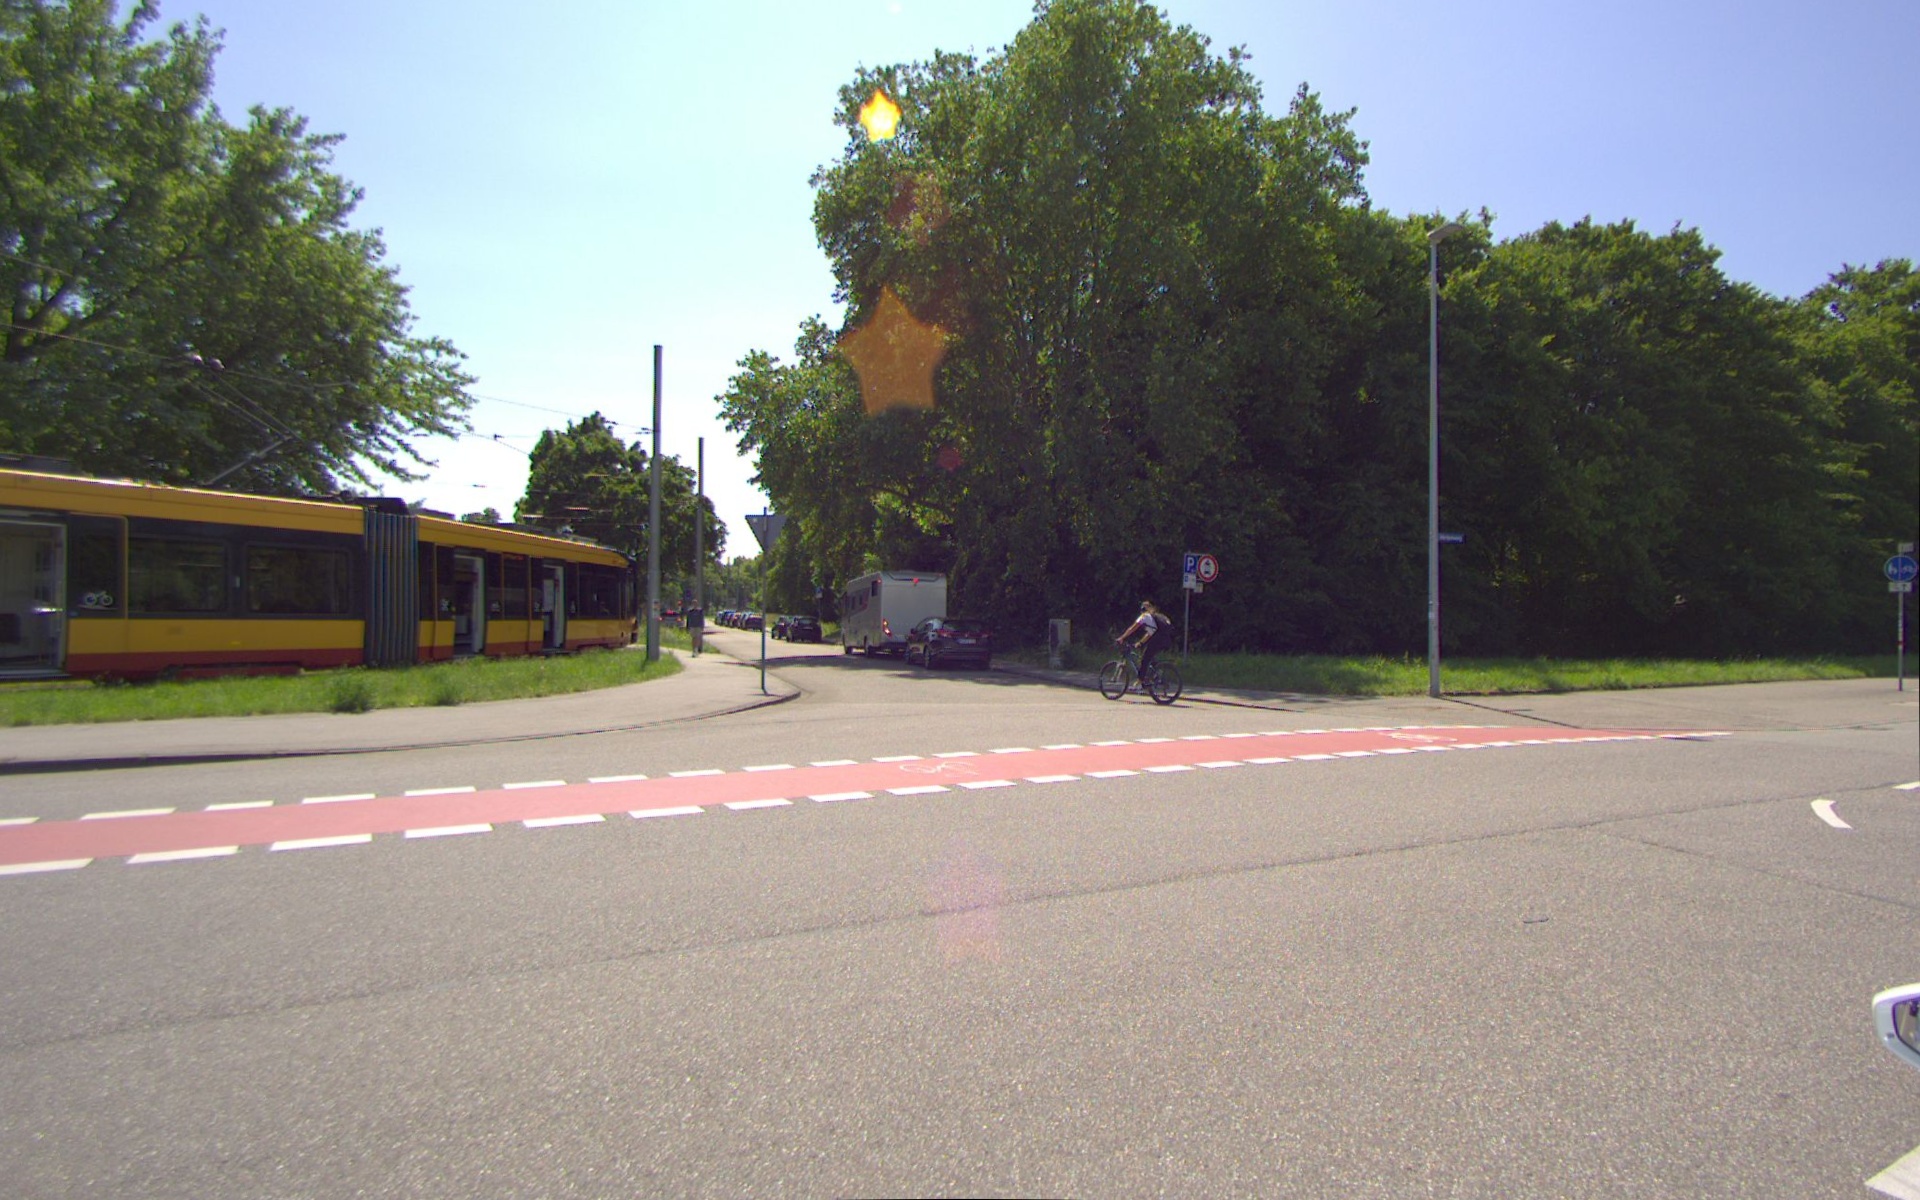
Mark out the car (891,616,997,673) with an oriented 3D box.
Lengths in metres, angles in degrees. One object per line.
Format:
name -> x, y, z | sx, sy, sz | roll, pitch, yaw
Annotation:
car -> -0.535, 1.211, 28.445 | 1.642, 1.436, 4.293 | 2, -2, -20

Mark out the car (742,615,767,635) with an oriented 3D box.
car -> -17.326, 2.085, 84.567 | 1.867, 1.639, 4.202 | 0, 0, -15

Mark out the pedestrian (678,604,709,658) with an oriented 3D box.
pedestrian -> -8.821, 1.010, 33.229 | 0.844, 1.732, 0.804 | 0, 0, -26

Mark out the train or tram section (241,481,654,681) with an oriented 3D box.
train or tram section -> -11.988, -0.156, 26.292 | 2.965, 3.808, 14.055 | 0, -2, 3

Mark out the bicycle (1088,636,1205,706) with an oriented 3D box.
bicycle -> 3.308, 1.239, 17.965 | 0.667, 1.069, 2.017 | 0, 1, -45

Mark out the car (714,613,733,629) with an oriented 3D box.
car -> -25.777, 2.308, 109.626 | 1.867, 1.639, 4.202 | 0, 0, -15

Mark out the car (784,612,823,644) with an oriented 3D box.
car -> -8.717, 1.505, 55.608 | 1.865, 1.639, 4.205 | 0, 0, -13

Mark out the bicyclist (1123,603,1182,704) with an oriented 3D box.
bicyclist -> 3.424, 0.928, 17.847 | 0.759, 1.729, 0.663 | 2, 1, 45

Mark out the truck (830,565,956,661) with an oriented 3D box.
truck -> -2.528, 0.508, 35.041 | 2.528, 2.948, 7.311 | 2, -2, -19

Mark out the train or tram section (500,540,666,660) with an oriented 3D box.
train or tram section -> -14.882, 0.204, 38.560 | 2.994, 3.808, 14.065 | 1, -2, -33

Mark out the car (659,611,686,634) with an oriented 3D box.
car -> -22.183, 1.717, 77.399 | 1.797, 1.639, 4.198 | 0, 0, -18

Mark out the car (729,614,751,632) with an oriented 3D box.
car -> -21.315, 2.187, 97.303 | 1.867, 1.639, 4.202 | 0, 0, -15

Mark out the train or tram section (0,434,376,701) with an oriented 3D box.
train or tram section -> -15.158, -0.450, 14.712 | 2.971, 3.808, 11.601 | -1, -2, 28

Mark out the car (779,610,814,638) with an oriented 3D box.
car -> -10.234, 1.494, 62.633 | 1.865, 1.639, 4.205 | 0, 0, -13
